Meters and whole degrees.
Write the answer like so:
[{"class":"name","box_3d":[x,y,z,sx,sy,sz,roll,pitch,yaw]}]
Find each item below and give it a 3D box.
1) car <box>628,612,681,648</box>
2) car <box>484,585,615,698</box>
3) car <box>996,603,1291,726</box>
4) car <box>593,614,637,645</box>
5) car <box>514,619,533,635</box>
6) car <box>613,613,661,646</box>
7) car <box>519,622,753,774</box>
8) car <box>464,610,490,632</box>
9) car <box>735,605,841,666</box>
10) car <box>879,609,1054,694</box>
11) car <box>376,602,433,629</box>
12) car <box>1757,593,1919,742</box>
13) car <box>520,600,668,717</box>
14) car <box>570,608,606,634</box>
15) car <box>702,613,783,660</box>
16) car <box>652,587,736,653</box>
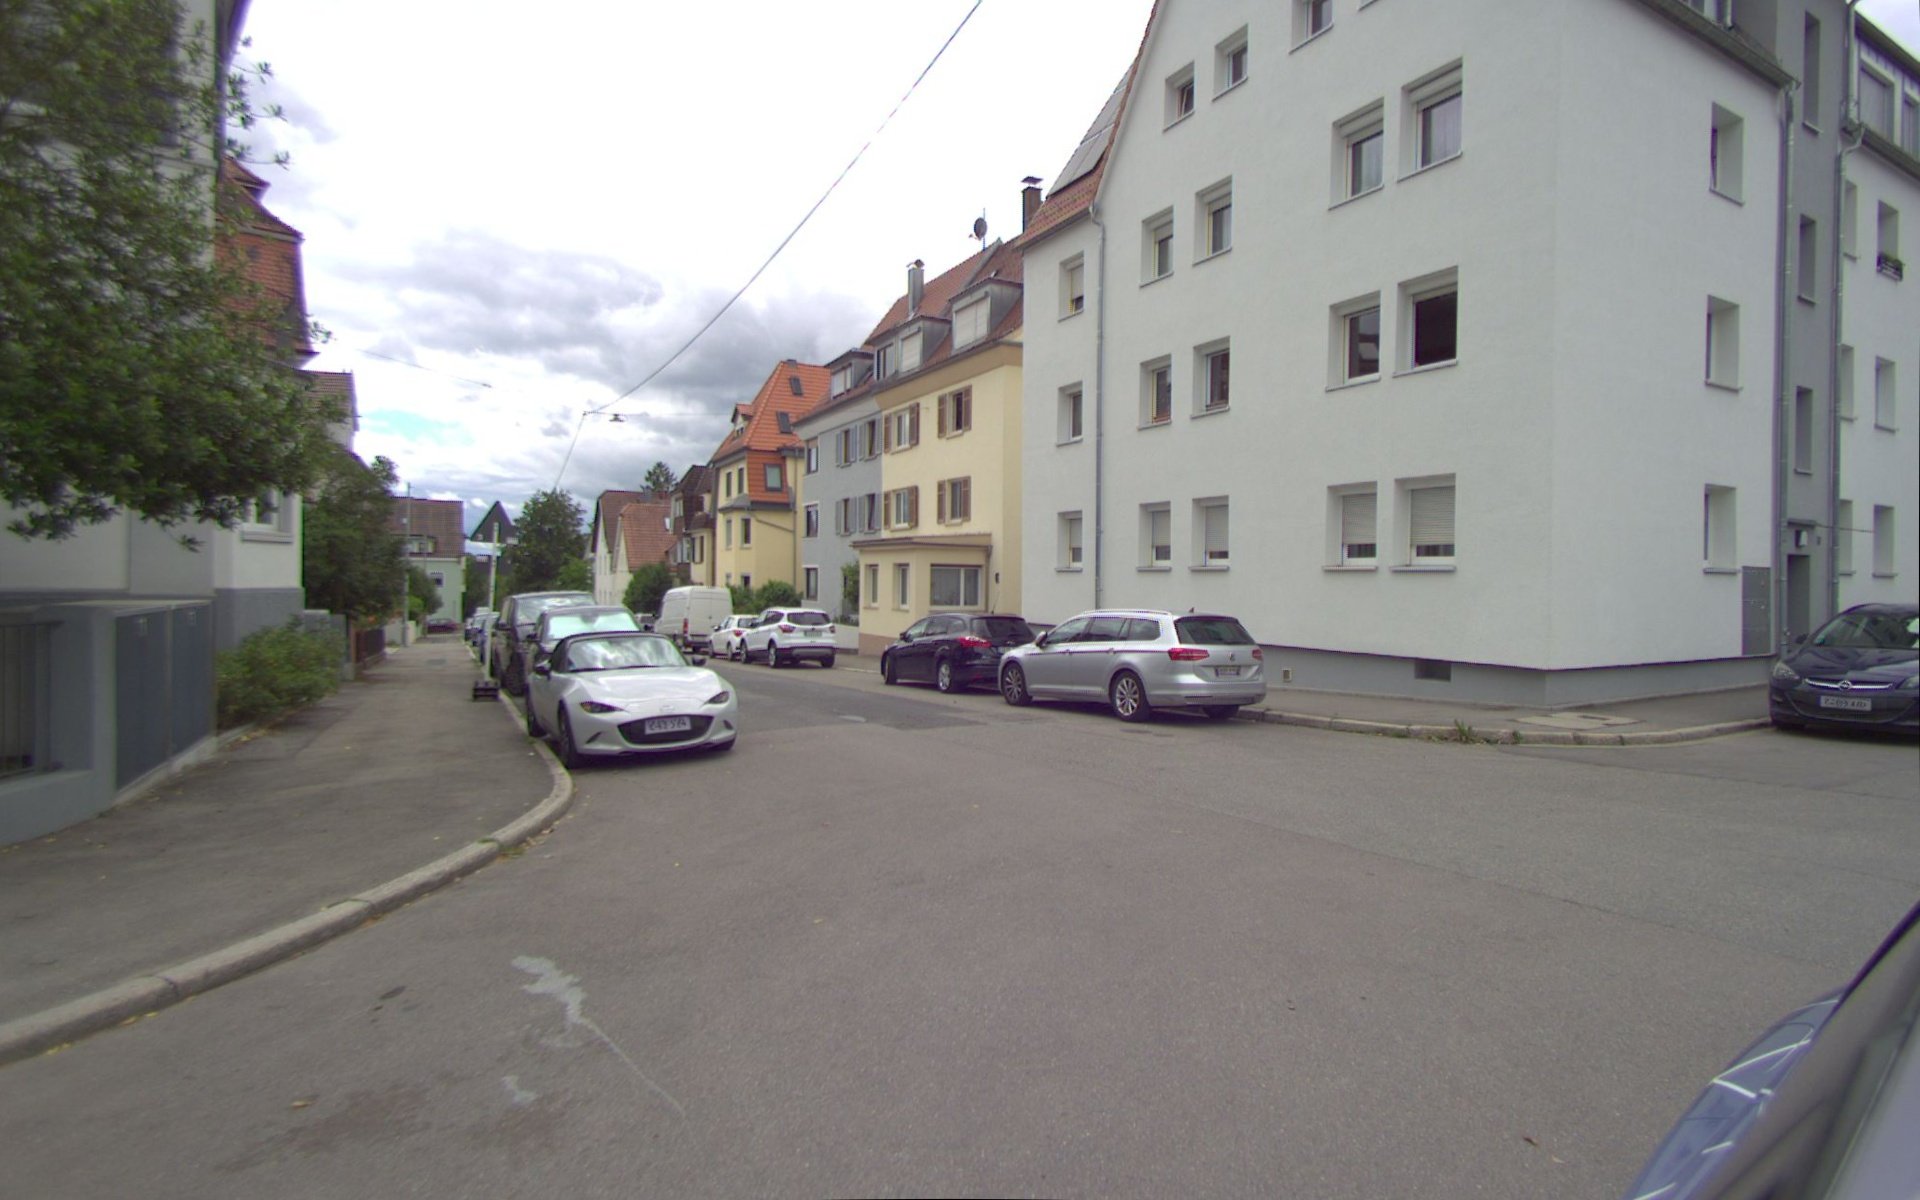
[{"class":"car","box_3d":[-14.500,1.393,47.867,1.693,1.607,4.004,0,-1,-27]},{"class":"car","box_3d":[-8.438,0.762,20.565,1.855,1.916,4.520,-4,1,-29]},{"class":"car","box_3d":[2.398,0.795,14.390,1.728,1.468,4.363,1,-1,-30]},{"class":"car","box_3d":[-19.034,1.617,55.730,1.693,1.607,3.891,0,-1,-27]},{"class":"car","box_3d":[-47.909,2.964,111.015,1.693,1.607,3.892,0,-1,-27]},{"class":"car","box_3d":[-16.596,1.490,51.882,1.693,1.607,3.891,0,-1,-27]},{"class":"car","box_3d":[-3.658,0.923,11.036,1.638,1.277,3.482,-3,0,-31]},{"class":"car","box_3d":[-35.842,1.552,75.058,1.587,1.580,3.745,0,-1,-29]},{"class":"car","box_3d":[-5.060,1.011,29.379,1.830,1.627,4.004,0,-1,-28]},{"class":"car","box_3d":[-0.004,0.910,19.228,1.702,1.440,4.005,1,-1,-26]},{"class":"car","box_3d":[-45.913,1.272,83.706,3.924,2.038,1.806,1,3,-36]},{"class":"car","box_3d":[11.363,0.685,11.958,4.203,1.504,1.825,0,1,-33]},{"class":"car","box_3d":[-5.850,0.829,15.858,1.637,1.460,4.209,-4,0,-26]},{"class":"car","box_3d":[-24.123,1.387,65.552,1.693,1.607,3.891,0,-1,-27]},{"class":"car","box_3d":[-7.392,1.190,34.102,1.702,1.472,4.005,1,-1,-27]},{"class":"car","box_3d":[-10.734,0.796,40.488,2.071,2.445,5.901,1,-1,-27]}]
